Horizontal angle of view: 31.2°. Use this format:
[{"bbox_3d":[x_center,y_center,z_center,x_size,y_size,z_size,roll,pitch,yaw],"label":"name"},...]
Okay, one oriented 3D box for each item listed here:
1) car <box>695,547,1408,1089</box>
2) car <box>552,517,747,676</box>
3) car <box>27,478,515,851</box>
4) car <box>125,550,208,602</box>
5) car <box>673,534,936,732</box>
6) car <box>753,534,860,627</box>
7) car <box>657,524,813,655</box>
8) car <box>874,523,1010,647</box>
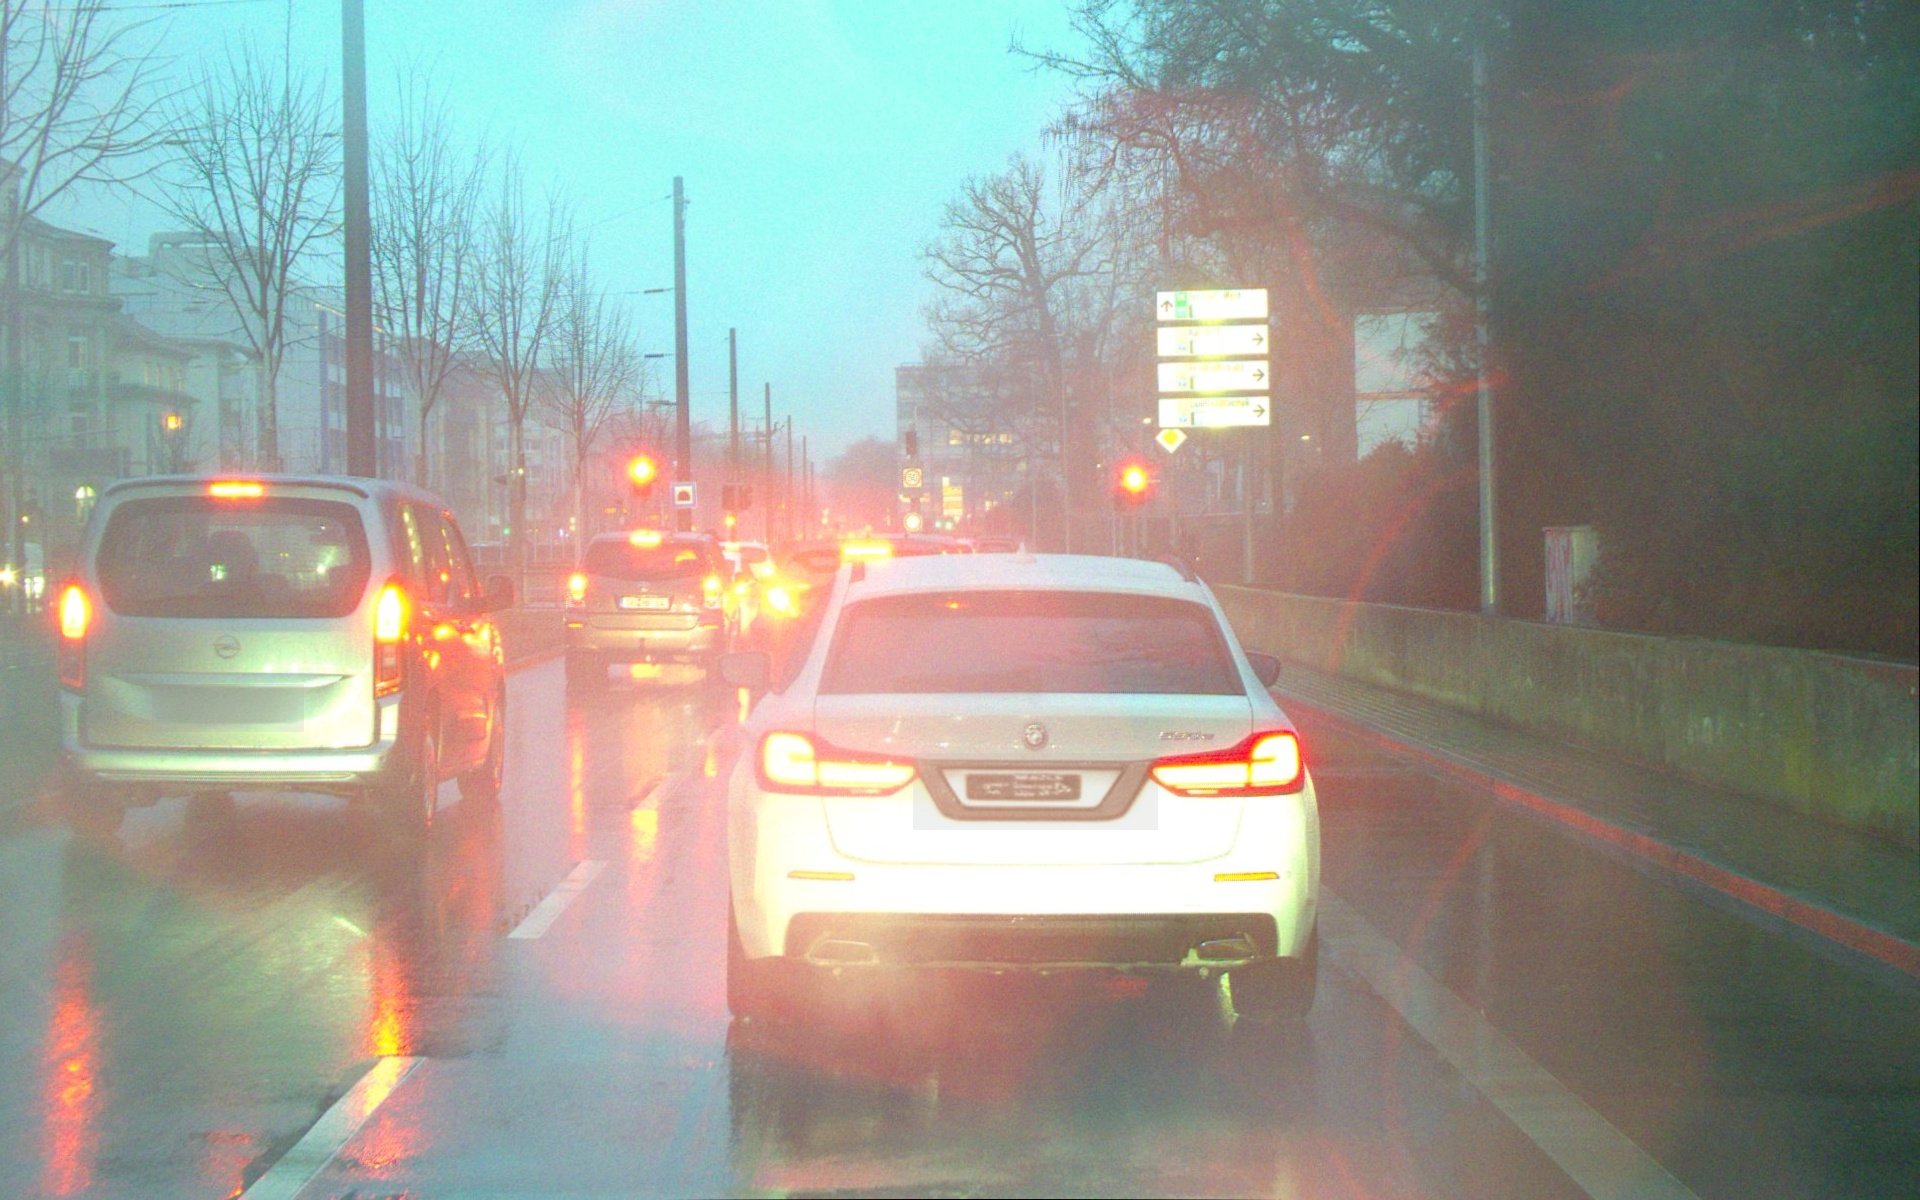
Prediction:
[{"bbox_3d":[0.234,0.583,11.740,1.999,1.503,4.164,0,1,-1],"label":"car"},{"bbox_3d":[-3.350,-0.079,37.709,1.806,1.640,4.000,0,1,0],"label":"car"},{"bbox_3d":[-3.519,0.274,18.375,1.793,1.730,4.538,1,1,-1],"label":"car"},{"bbox_3d":[-25.855,-0.802,112.131,1.895,1.628,4.581,-1,1,-3],"label":"car"},{"bbox_3d":[-1.167,0.205,27.366,1.936,1.452,4.164,0,1,-1],"label":"car"},{"bbox_3d":[-2.772,-0.387,62.911,1.806,1.640,4.000,0,1,0],"label":"car"},{"bbox_3d":[-3.114,-0.163,48.343,1.993,1.749,4.000,1,1,-1],"label":"car"},{"bbox_3d":[-0.257,-0.236,47.859,1.806,1.640,4.000,0,1,0],"label":"car"}]
